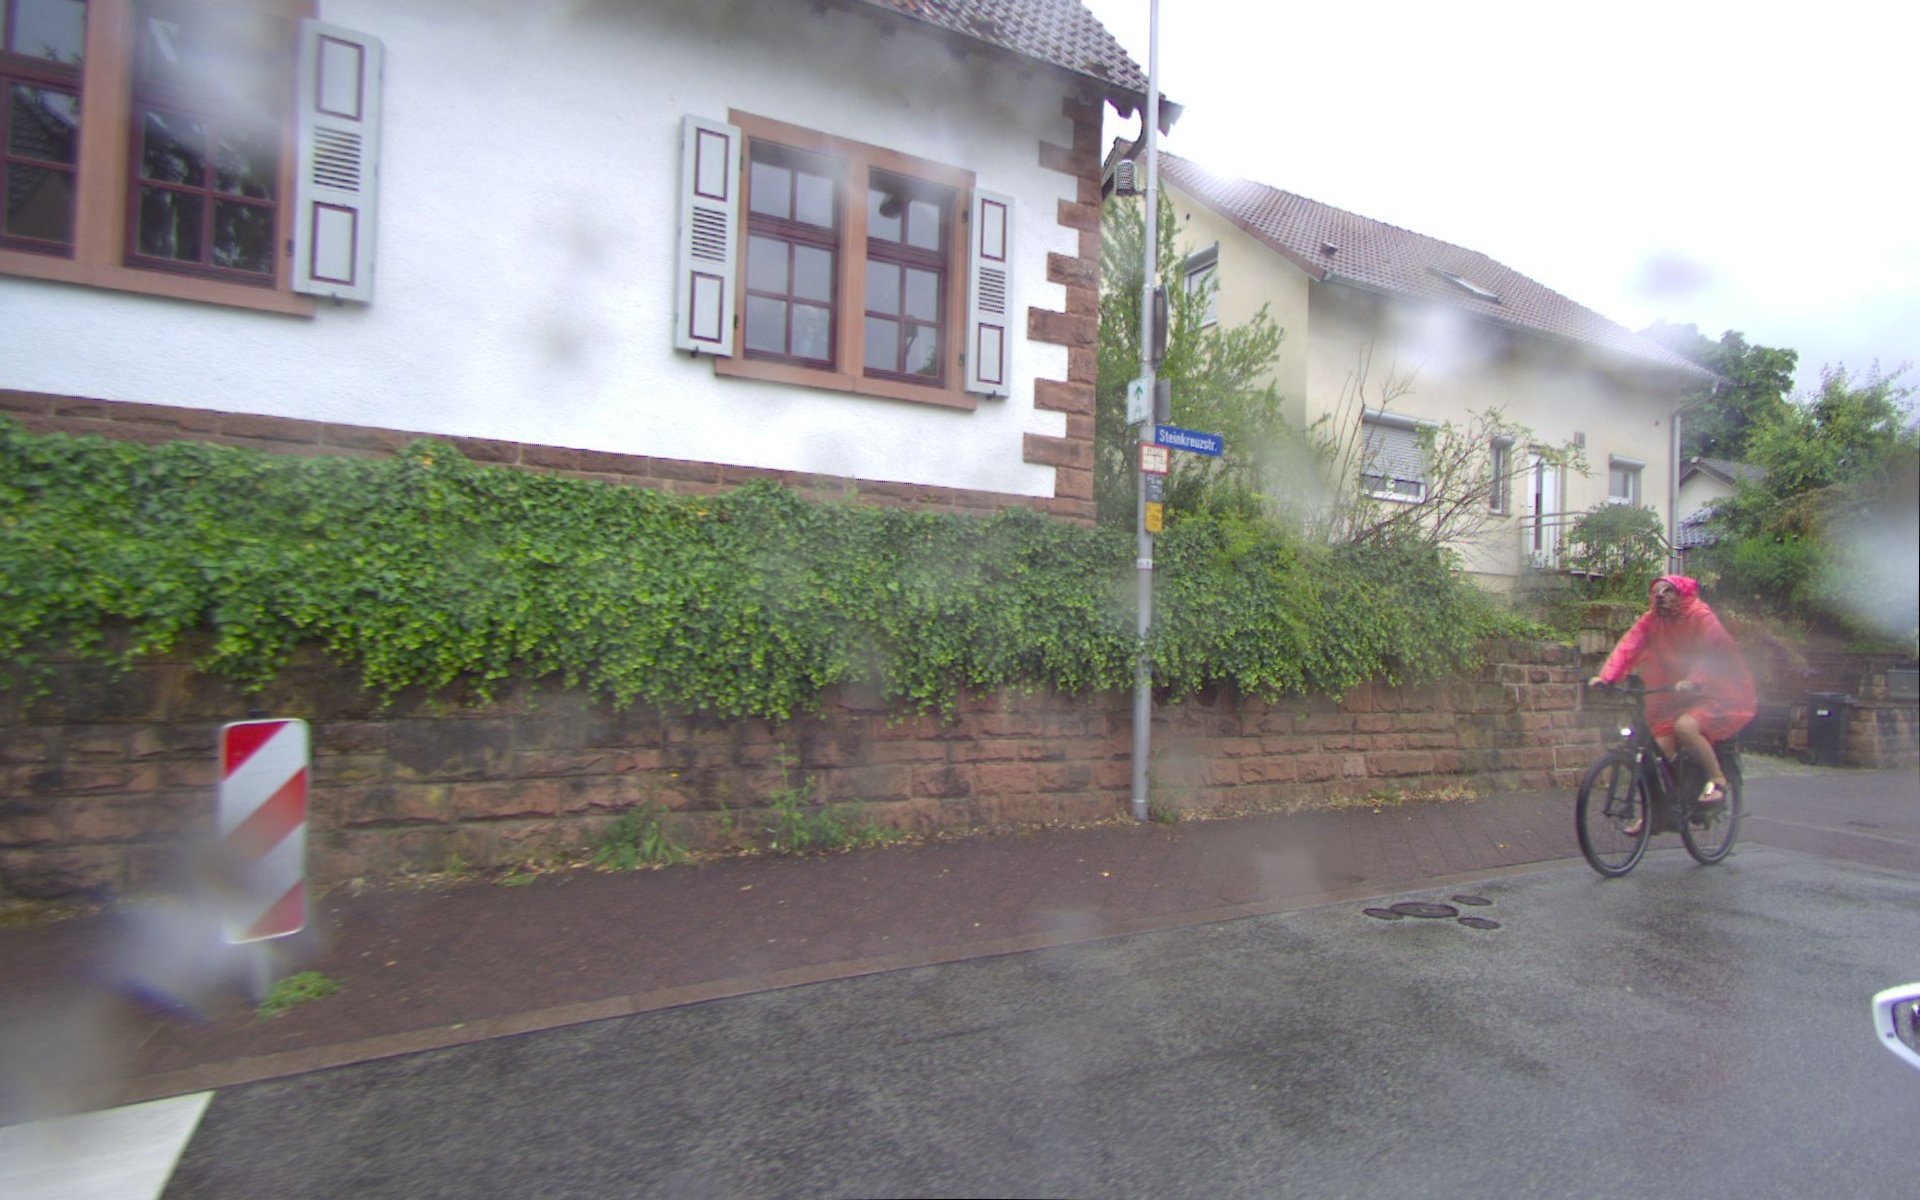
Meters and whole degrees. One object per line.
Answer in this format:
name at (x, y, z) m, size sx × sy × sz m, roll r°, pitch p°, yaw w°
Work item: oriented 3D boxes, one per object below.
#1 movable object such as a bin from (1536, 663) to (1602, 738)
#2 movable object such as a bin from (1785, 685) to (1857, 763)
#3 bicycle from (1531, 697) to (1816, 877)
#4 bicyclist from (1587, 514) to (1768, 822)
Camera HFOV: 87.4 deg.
movable object such as a bin at (9.430, 1.541, 15.561) m, size 0.647 × 1.077 × 0.620 m, roll 0°, pitch 0°, yaw -26°
movable object such as a bin at (11.111, 1.592, 12.966) m, size 0.538 × 0.942 × 0.535 m, roll 4°, pitch -1°, yaw -29°
bicycle at (4.499, 1.109, 6.304) m, size 1.910 × 0.882 × 0.658 m, roll 1°, pitch 0°, yaw -28°
bicyclist at (4.485, 0.399, 6.296) m, size 0.694 × 1.793 × 0.654 m, roll 1°, pitch 0°, yaw -27°
